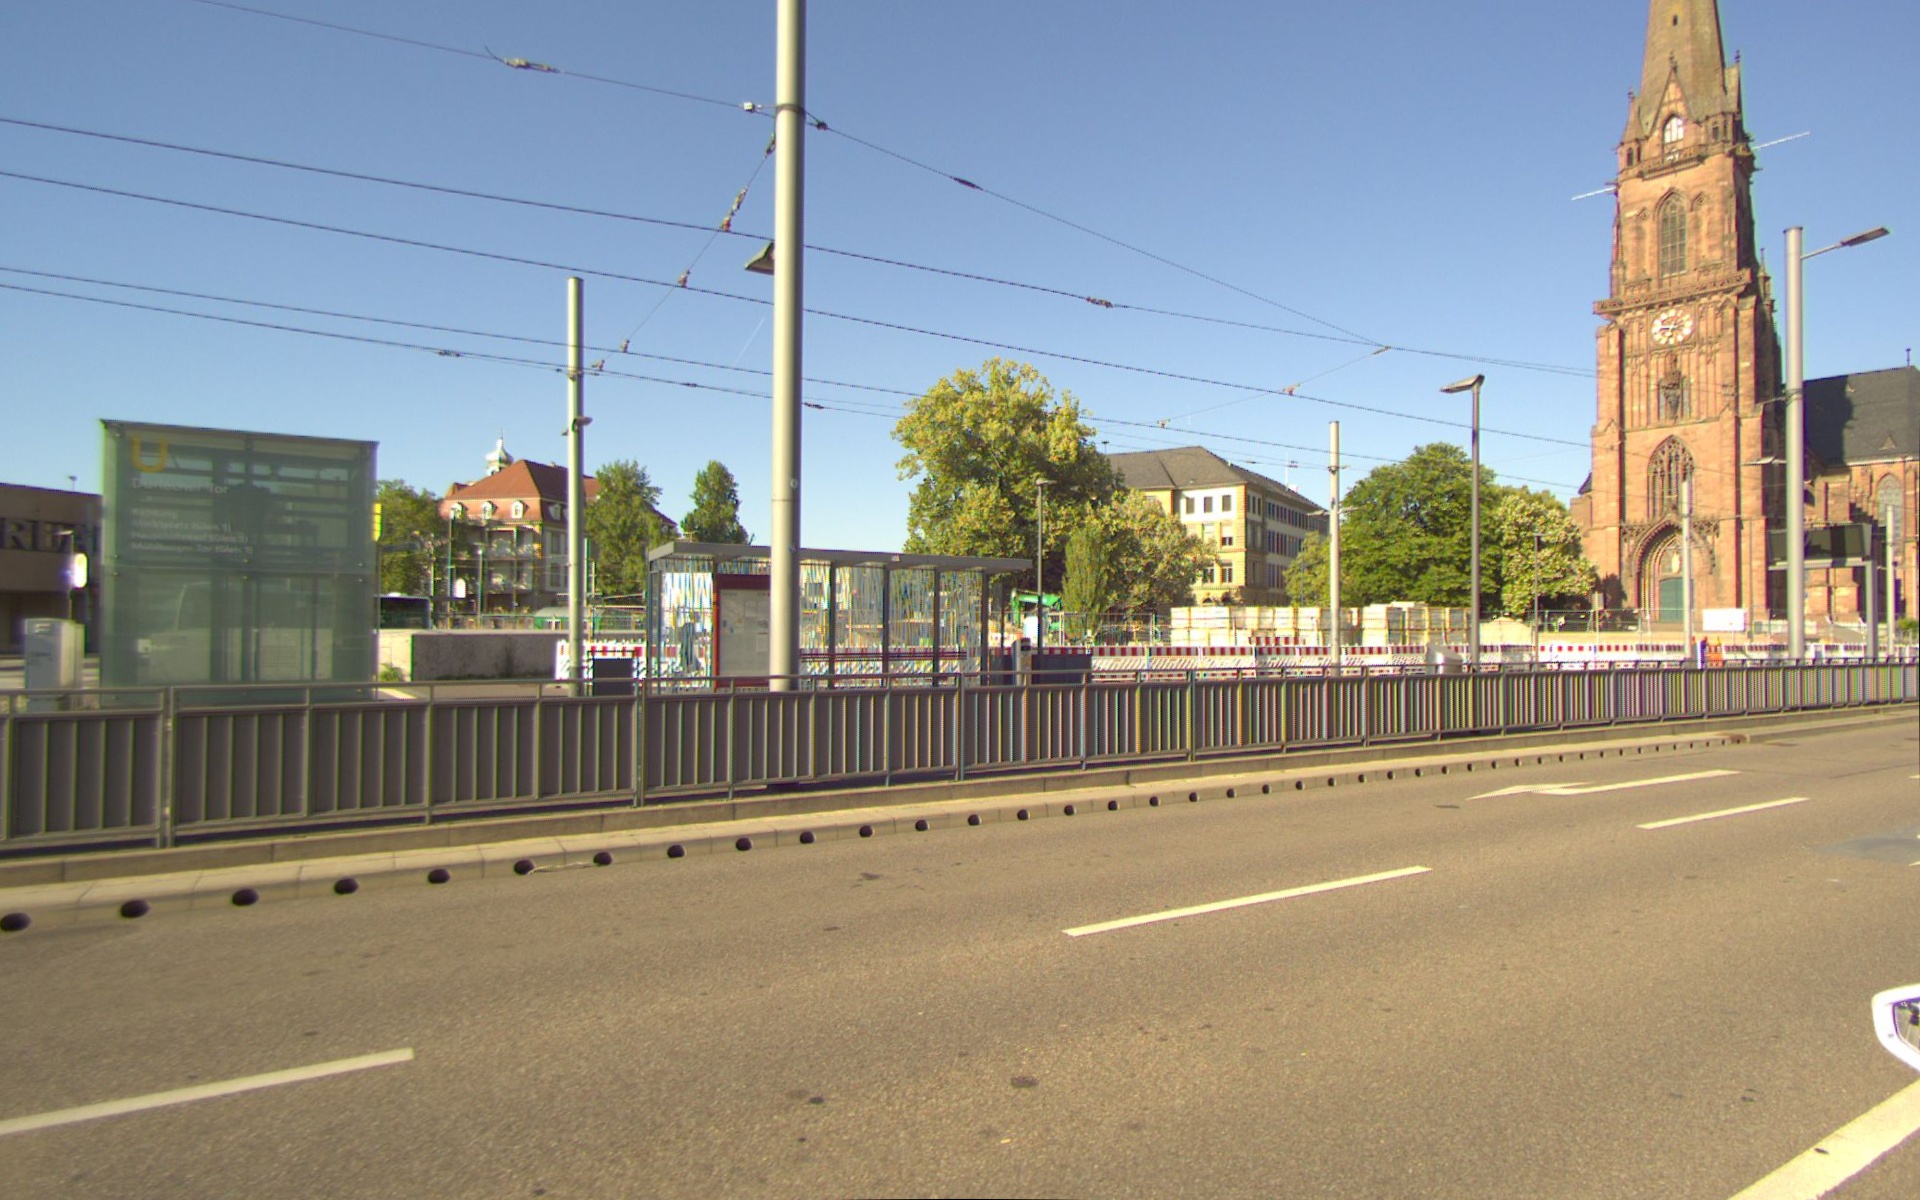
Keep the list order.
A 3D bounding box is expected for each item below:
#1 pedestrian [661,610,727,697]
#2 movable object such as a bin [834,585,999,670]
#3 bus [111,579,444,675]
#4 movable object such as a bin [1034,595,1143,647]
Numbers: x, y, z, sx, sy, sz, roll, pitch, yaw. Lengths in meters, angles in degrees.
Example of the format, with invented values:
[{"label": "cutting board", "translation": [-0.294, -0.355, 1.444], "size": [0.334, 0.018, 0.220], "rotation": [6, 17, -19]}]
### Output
[{"label": "pedestrian", "translation": [-5.833, 1.158, 21.983], "size": [1.166, 1.792, 0.798], "rotation": [-2, -1, -31]}, {"label": "movable object such as a bin", "translation": [-1.376, 0.863, 33.506], "size": [2.597, 2.559, 5.142], "rotation": [-4, -2, 41]}, {"label": "bus", "translation": [-27.027, 1.029, 41.203], "size": [2.784, 3.236, 12.668], "rotation": [-3, -1, 13]}, {"label": "movable object such as a bin", "translation": [4.484, 0.714, 34.836], "size": [3.821, 1.608, 1.167], "rotation": [-2, -1, -32]}]
